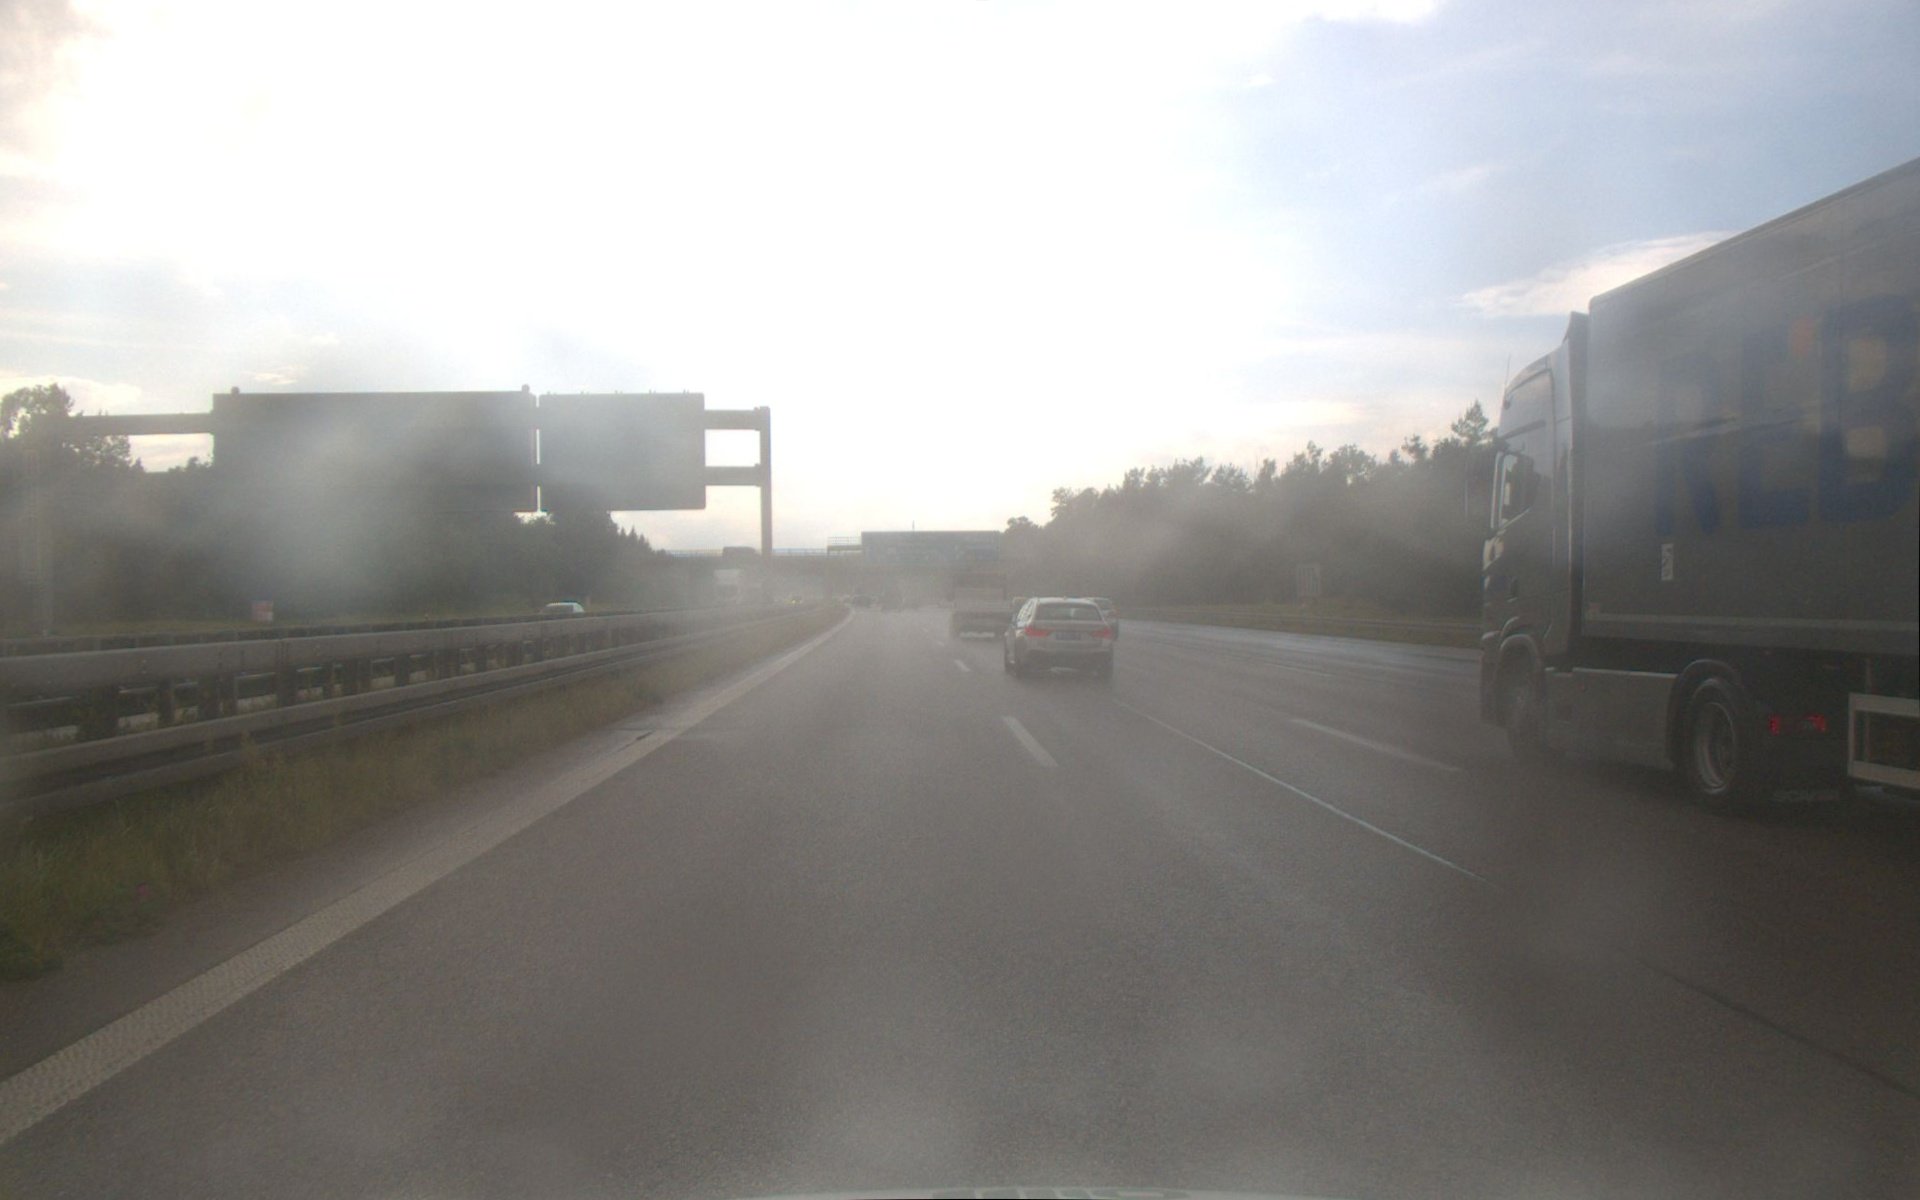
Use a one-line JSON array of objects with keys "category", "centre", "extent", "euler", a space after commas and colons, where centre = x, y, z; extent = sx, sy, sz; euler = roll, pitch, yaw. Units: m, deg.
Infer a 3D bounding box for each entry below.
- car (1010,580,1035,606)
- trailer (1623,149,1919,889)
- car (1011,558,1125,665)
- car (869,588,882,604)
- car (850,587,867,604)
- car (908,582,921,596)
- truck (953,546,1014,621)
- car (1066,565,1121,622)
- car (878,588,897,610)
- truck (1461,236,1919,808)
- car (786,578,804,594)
[{"category": "car", "centre": [5.151, -0.620, 135.994], "extent": [1.952, 2.049, 4.001], "euler": [2, 0, 2]}, {"category": "trailer", "centre": [6.515, -0.420, 6.191], "extent": [2.277, 4.071, 13.407], "euler": [0, 0, -2]}, {"category": "car", "centre": [2.069, 0.191, 32.237], "extent": [2.034, 1.918, 5.013], "euler": [0, 0, 3]}, {"category": "car", "centre": [-10.829, -0.534, 212.173], "extent": [1.584, 2.049, 3.999], "euler": [2, 1, -1]}, {"category": "car", "centre": [-12.793, -0.568, 209.059], "extent": [1.953, 2.049, 3.999], "euler": [0, 0, -1]}, {"category": "car", "centre": [-6.765, -1.686, 246.568], "extent": [1.953, 2.049, 3.999], "euler": [2, 1, -1]}, {"category": "truck", "centre": [0.881, -0.592, 59.348], "extent": [2.093, 2.532, 5.314], "euler": [0, 1, 2]}, {"category": "car", "centre": [4.949, -0.250, 61.893], "extent": [1.868, 2.049, 4.001], "euler": [1, 1, 2]}, {"category": "car", "centre": [-6.841, -0.114, 155.614], "extent": [1.640, 2.049, 3.999], "euler": [2, 1, -1]}, {"category": "truck", "centre": [6.281, -0.551, 14.128], "extent": [2.247, 3.935, 5.391], "euler": [0, 0, -1]}, {"category": "car", "centre": [-21.595, -1.873, 216.855], "extent": [1.953, 2.049, 3.999], "euler": [0, 0, -1]}]
